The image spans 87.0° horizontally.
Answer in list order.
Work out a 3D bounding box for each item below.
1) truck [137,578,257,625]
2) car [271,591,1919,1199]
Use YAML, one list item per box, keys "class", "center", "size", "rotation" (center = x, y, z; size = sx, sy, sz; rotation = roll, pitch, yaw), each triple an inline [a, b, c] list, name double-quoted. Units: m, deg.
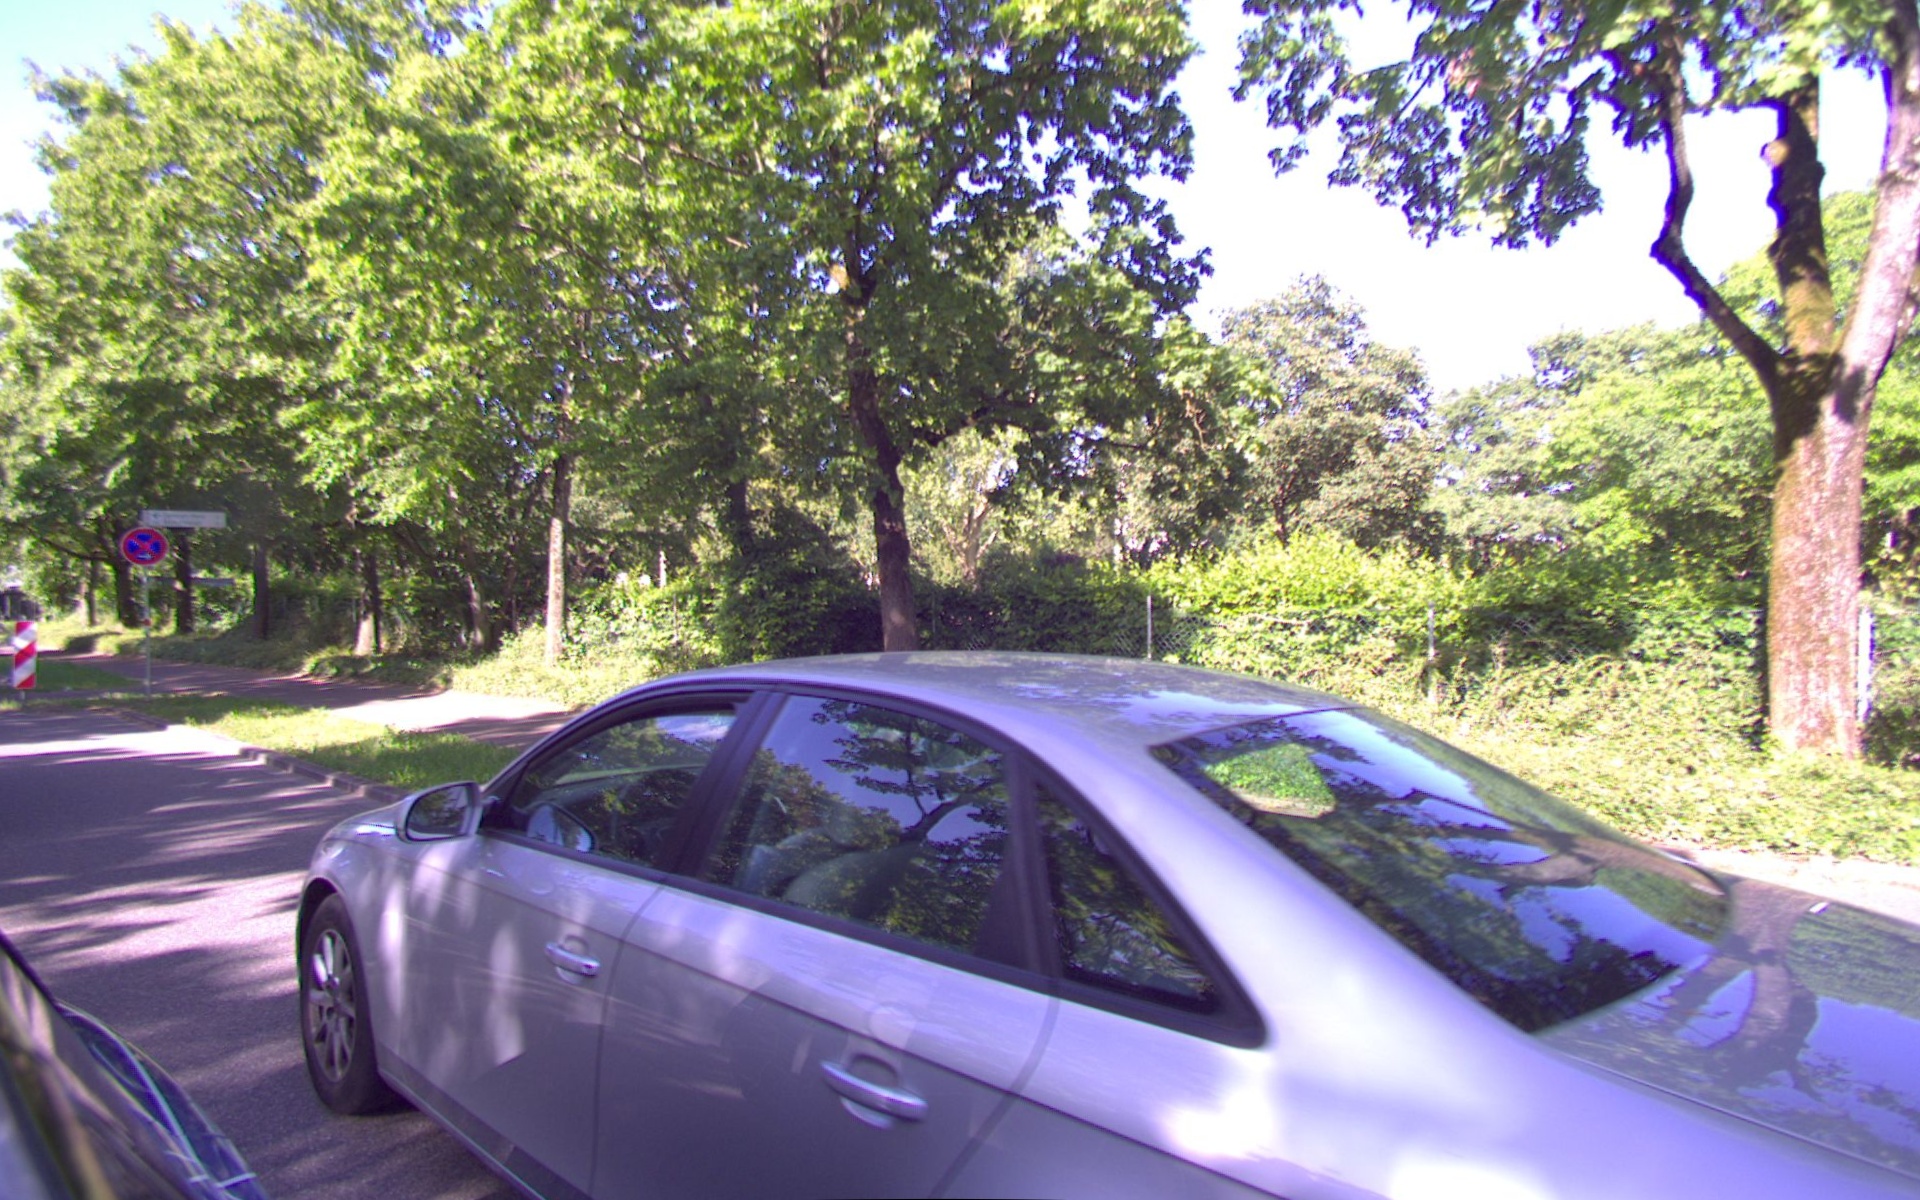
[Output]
- class: "truck"
  center: [-35.051, 0.108, 46.548]
  size: [2.201, 2.029, 3.948]
  rotation: [-1, -2, 38]
- class: "car"
  center: [-0.025, 0.760, 2.427]
  size: [4.103, 1.427, 1.767]
  rotation: [-1, -2, 42]
